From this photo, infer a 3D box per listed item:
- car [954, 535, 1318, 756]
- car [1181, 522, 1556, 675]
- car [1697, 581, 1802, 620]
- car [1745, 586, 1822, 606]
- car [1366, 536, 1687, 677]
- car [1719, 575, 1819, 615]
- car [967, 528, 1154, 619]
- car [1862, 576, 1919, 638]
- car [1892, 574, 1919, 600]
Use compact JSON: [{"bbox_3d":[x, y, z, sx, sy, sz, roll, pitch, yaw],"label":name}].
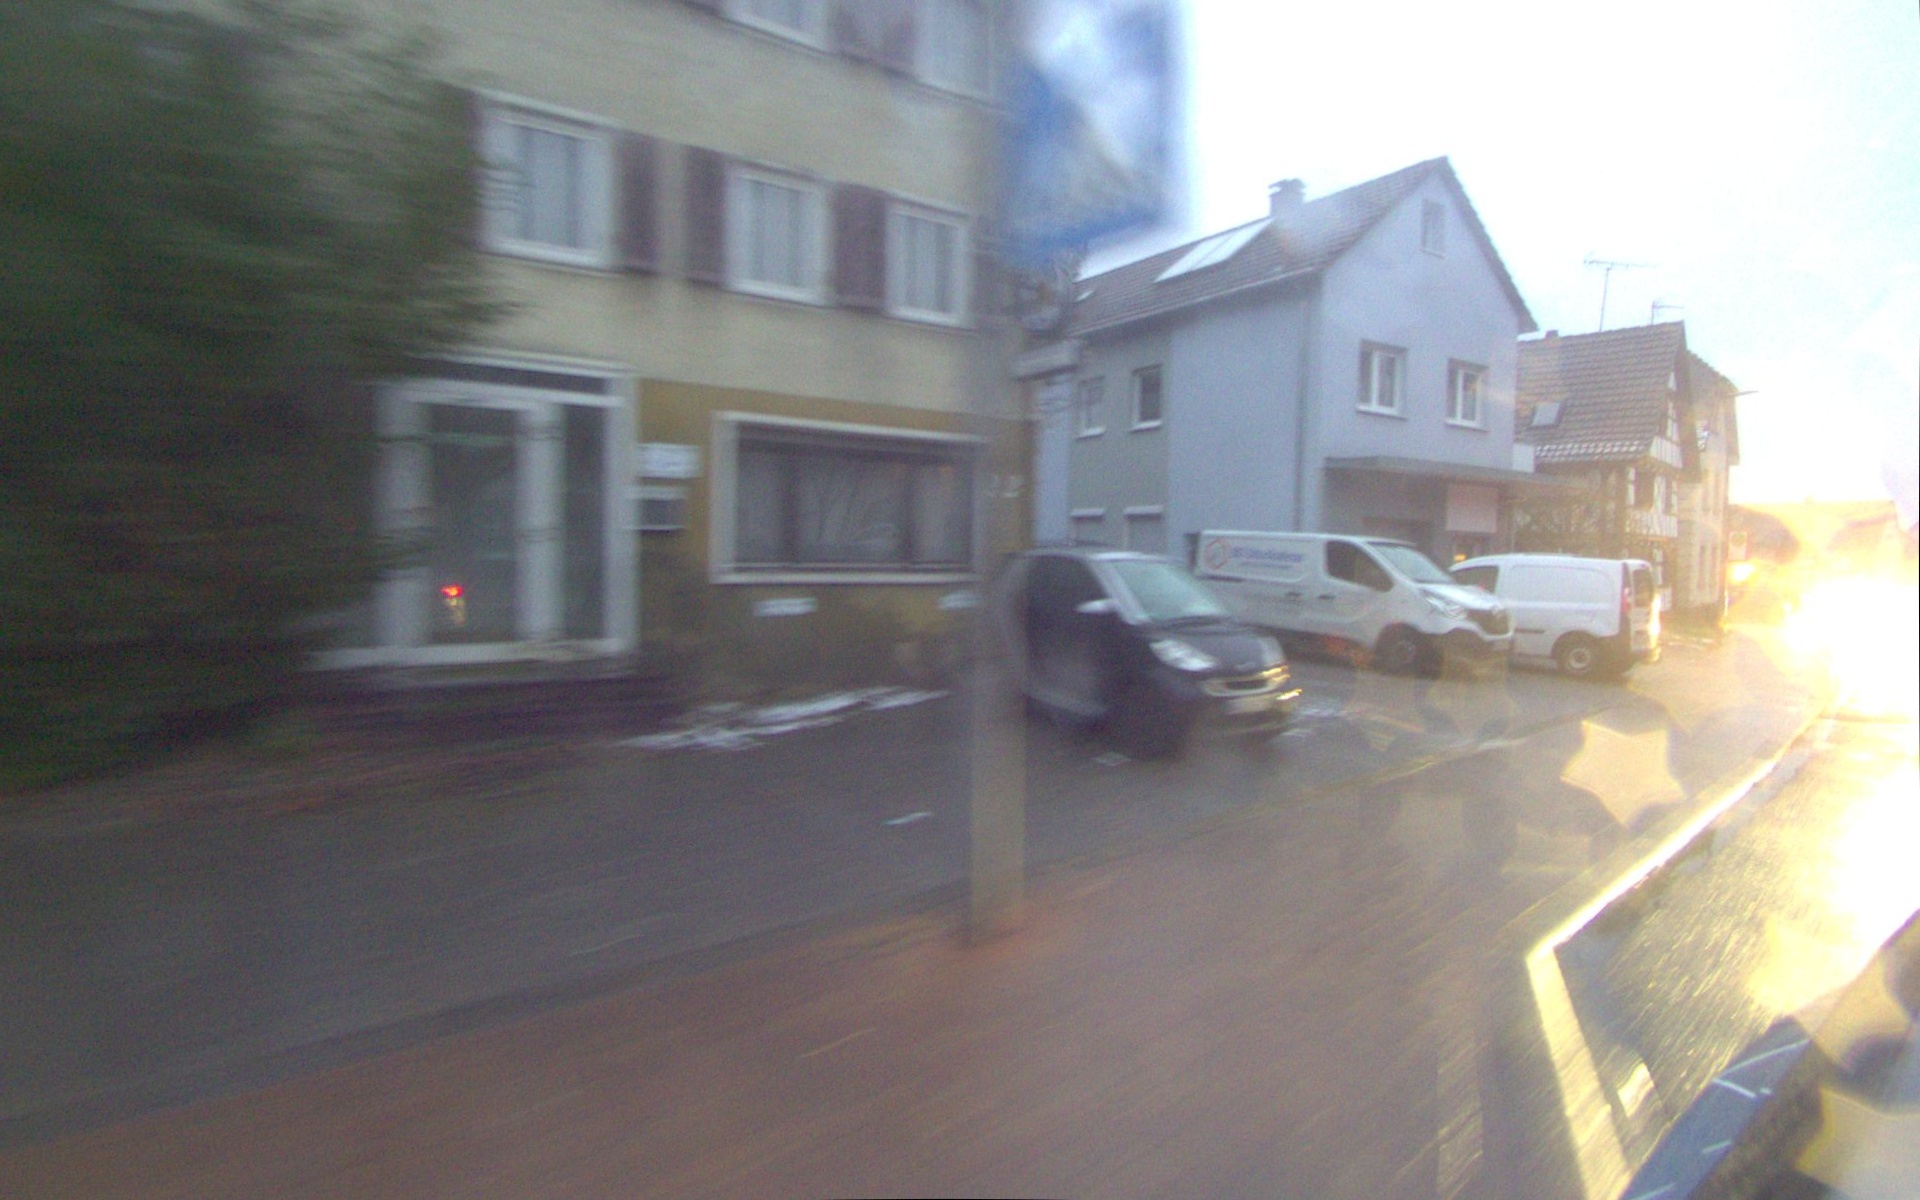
[{"bbox_3d":[1.349,0.239,8.493,1.400,1.492,2.773,0,4,-36],"label":"car"},{"bbox_3d":[5.988,-0.169,15.506,1.901,1.911,4.998,1,4,-37],"label":"car"},{"bbox_3d":[37.907,0.006,48.703,3.832,1.647,1.591,4,2,36],"label":"car"},{"bbox_3d":[53.703,-0.302,66.042,3.874,1.141,1.528,3,2,41],"label":"car"},{"bbox_3d":[8.918,-0.019,16.205,1.832,1.865,4.051,-1,4,-41],"label":"car"},{"bbox_3d":[41.813,-0.269,52.434,3.867,1.900,1.846,3,2,35],"label":"car"},{"bbox_3d":[2.046,-0.629,21.755,1.844,1.641,4.005,0,5,-33],"label":"car"},{"bbox_3d":[26.651,0.172,28.260,1.915,1.638,3.815,1,1,38],"label":"car"},{"bbox_3d":[78.257,-1.075,83.393,1.829,2.039,3.648,1,1,39],"label":"car"}]
